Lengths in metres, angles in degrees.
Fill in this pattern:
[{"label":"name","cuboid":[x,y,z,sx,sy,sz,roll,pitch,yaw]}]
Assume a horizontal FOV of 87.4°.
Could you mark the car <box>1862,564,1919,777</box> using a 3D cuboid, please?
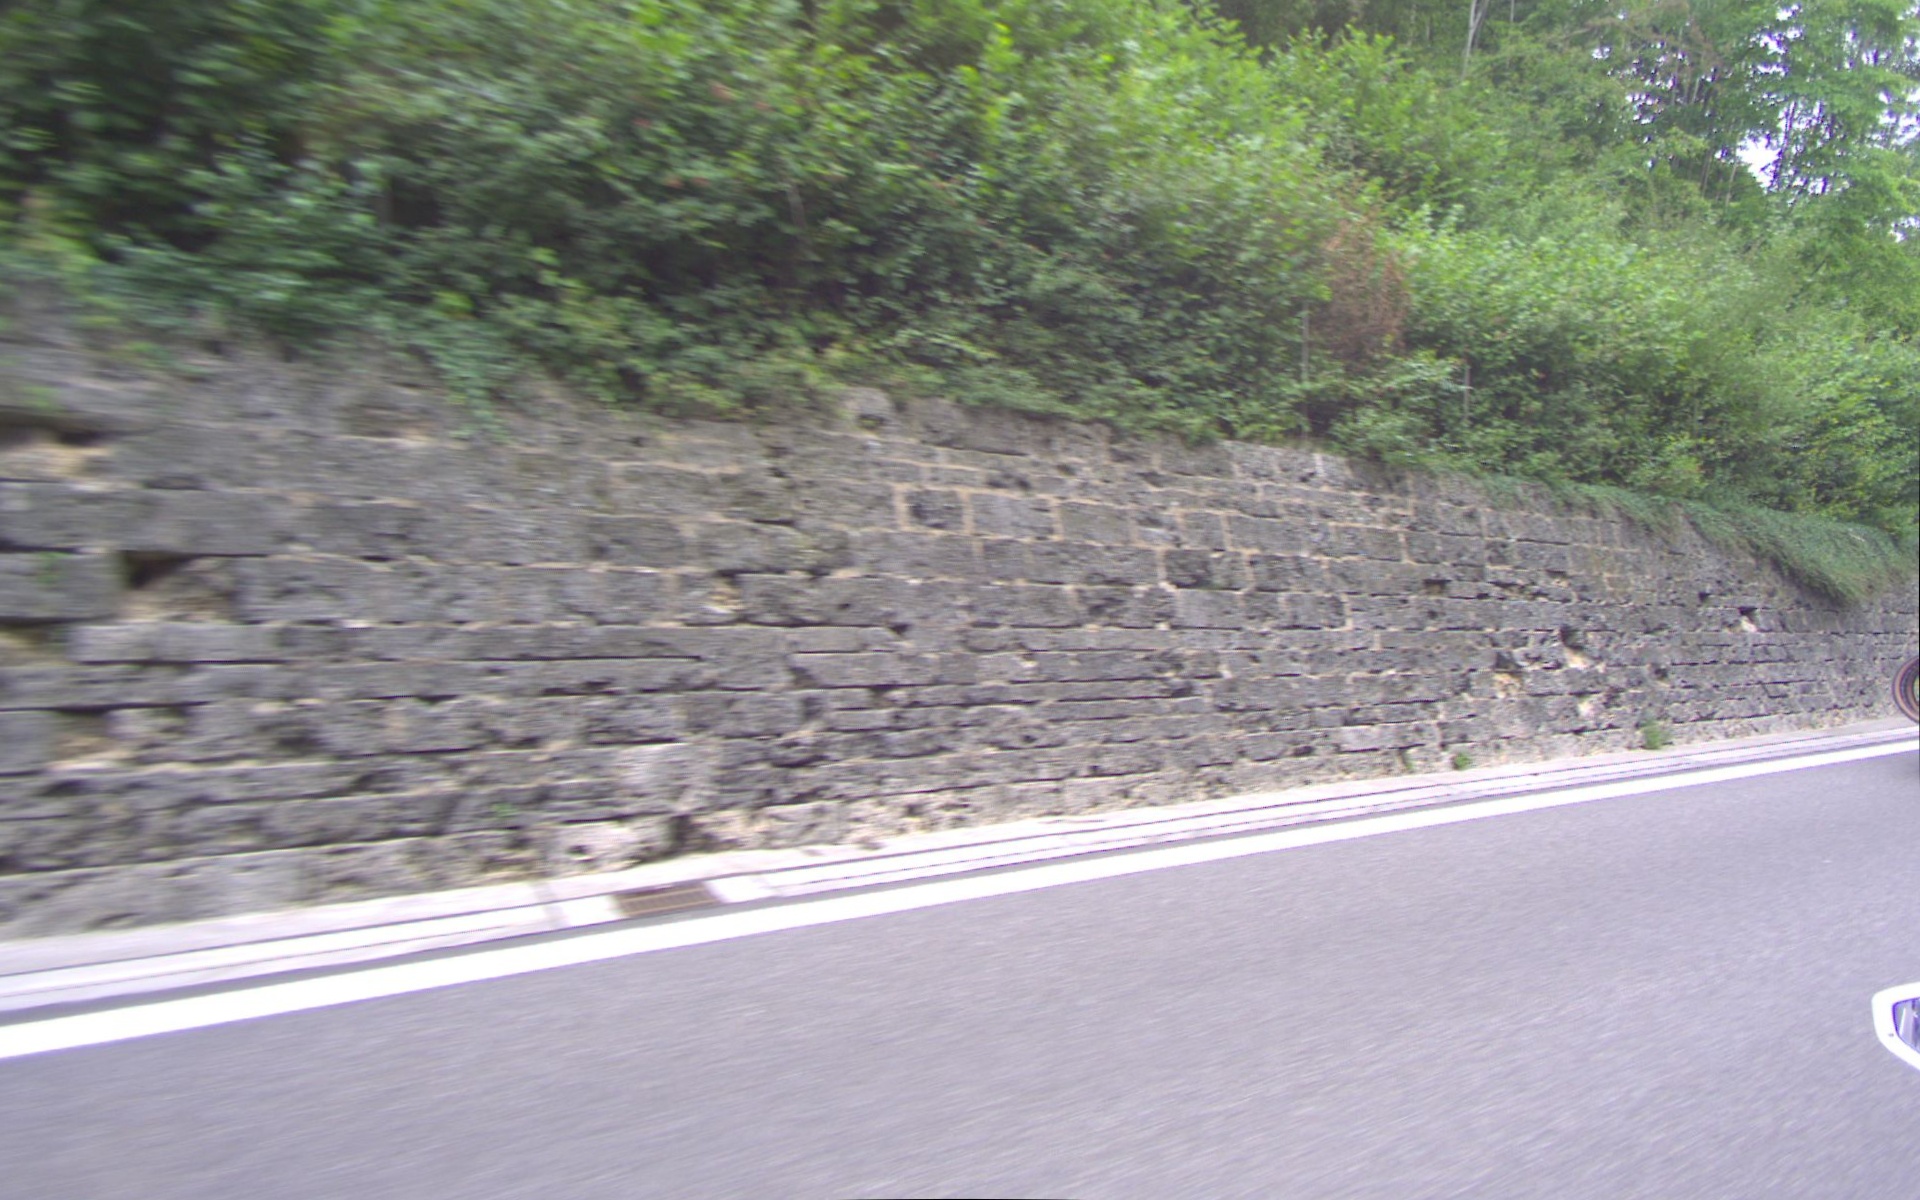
[{"label":"car","cuboid":[11.785,0.704,10.374,6.077,1.979,1.983,1,0,-31]}]
